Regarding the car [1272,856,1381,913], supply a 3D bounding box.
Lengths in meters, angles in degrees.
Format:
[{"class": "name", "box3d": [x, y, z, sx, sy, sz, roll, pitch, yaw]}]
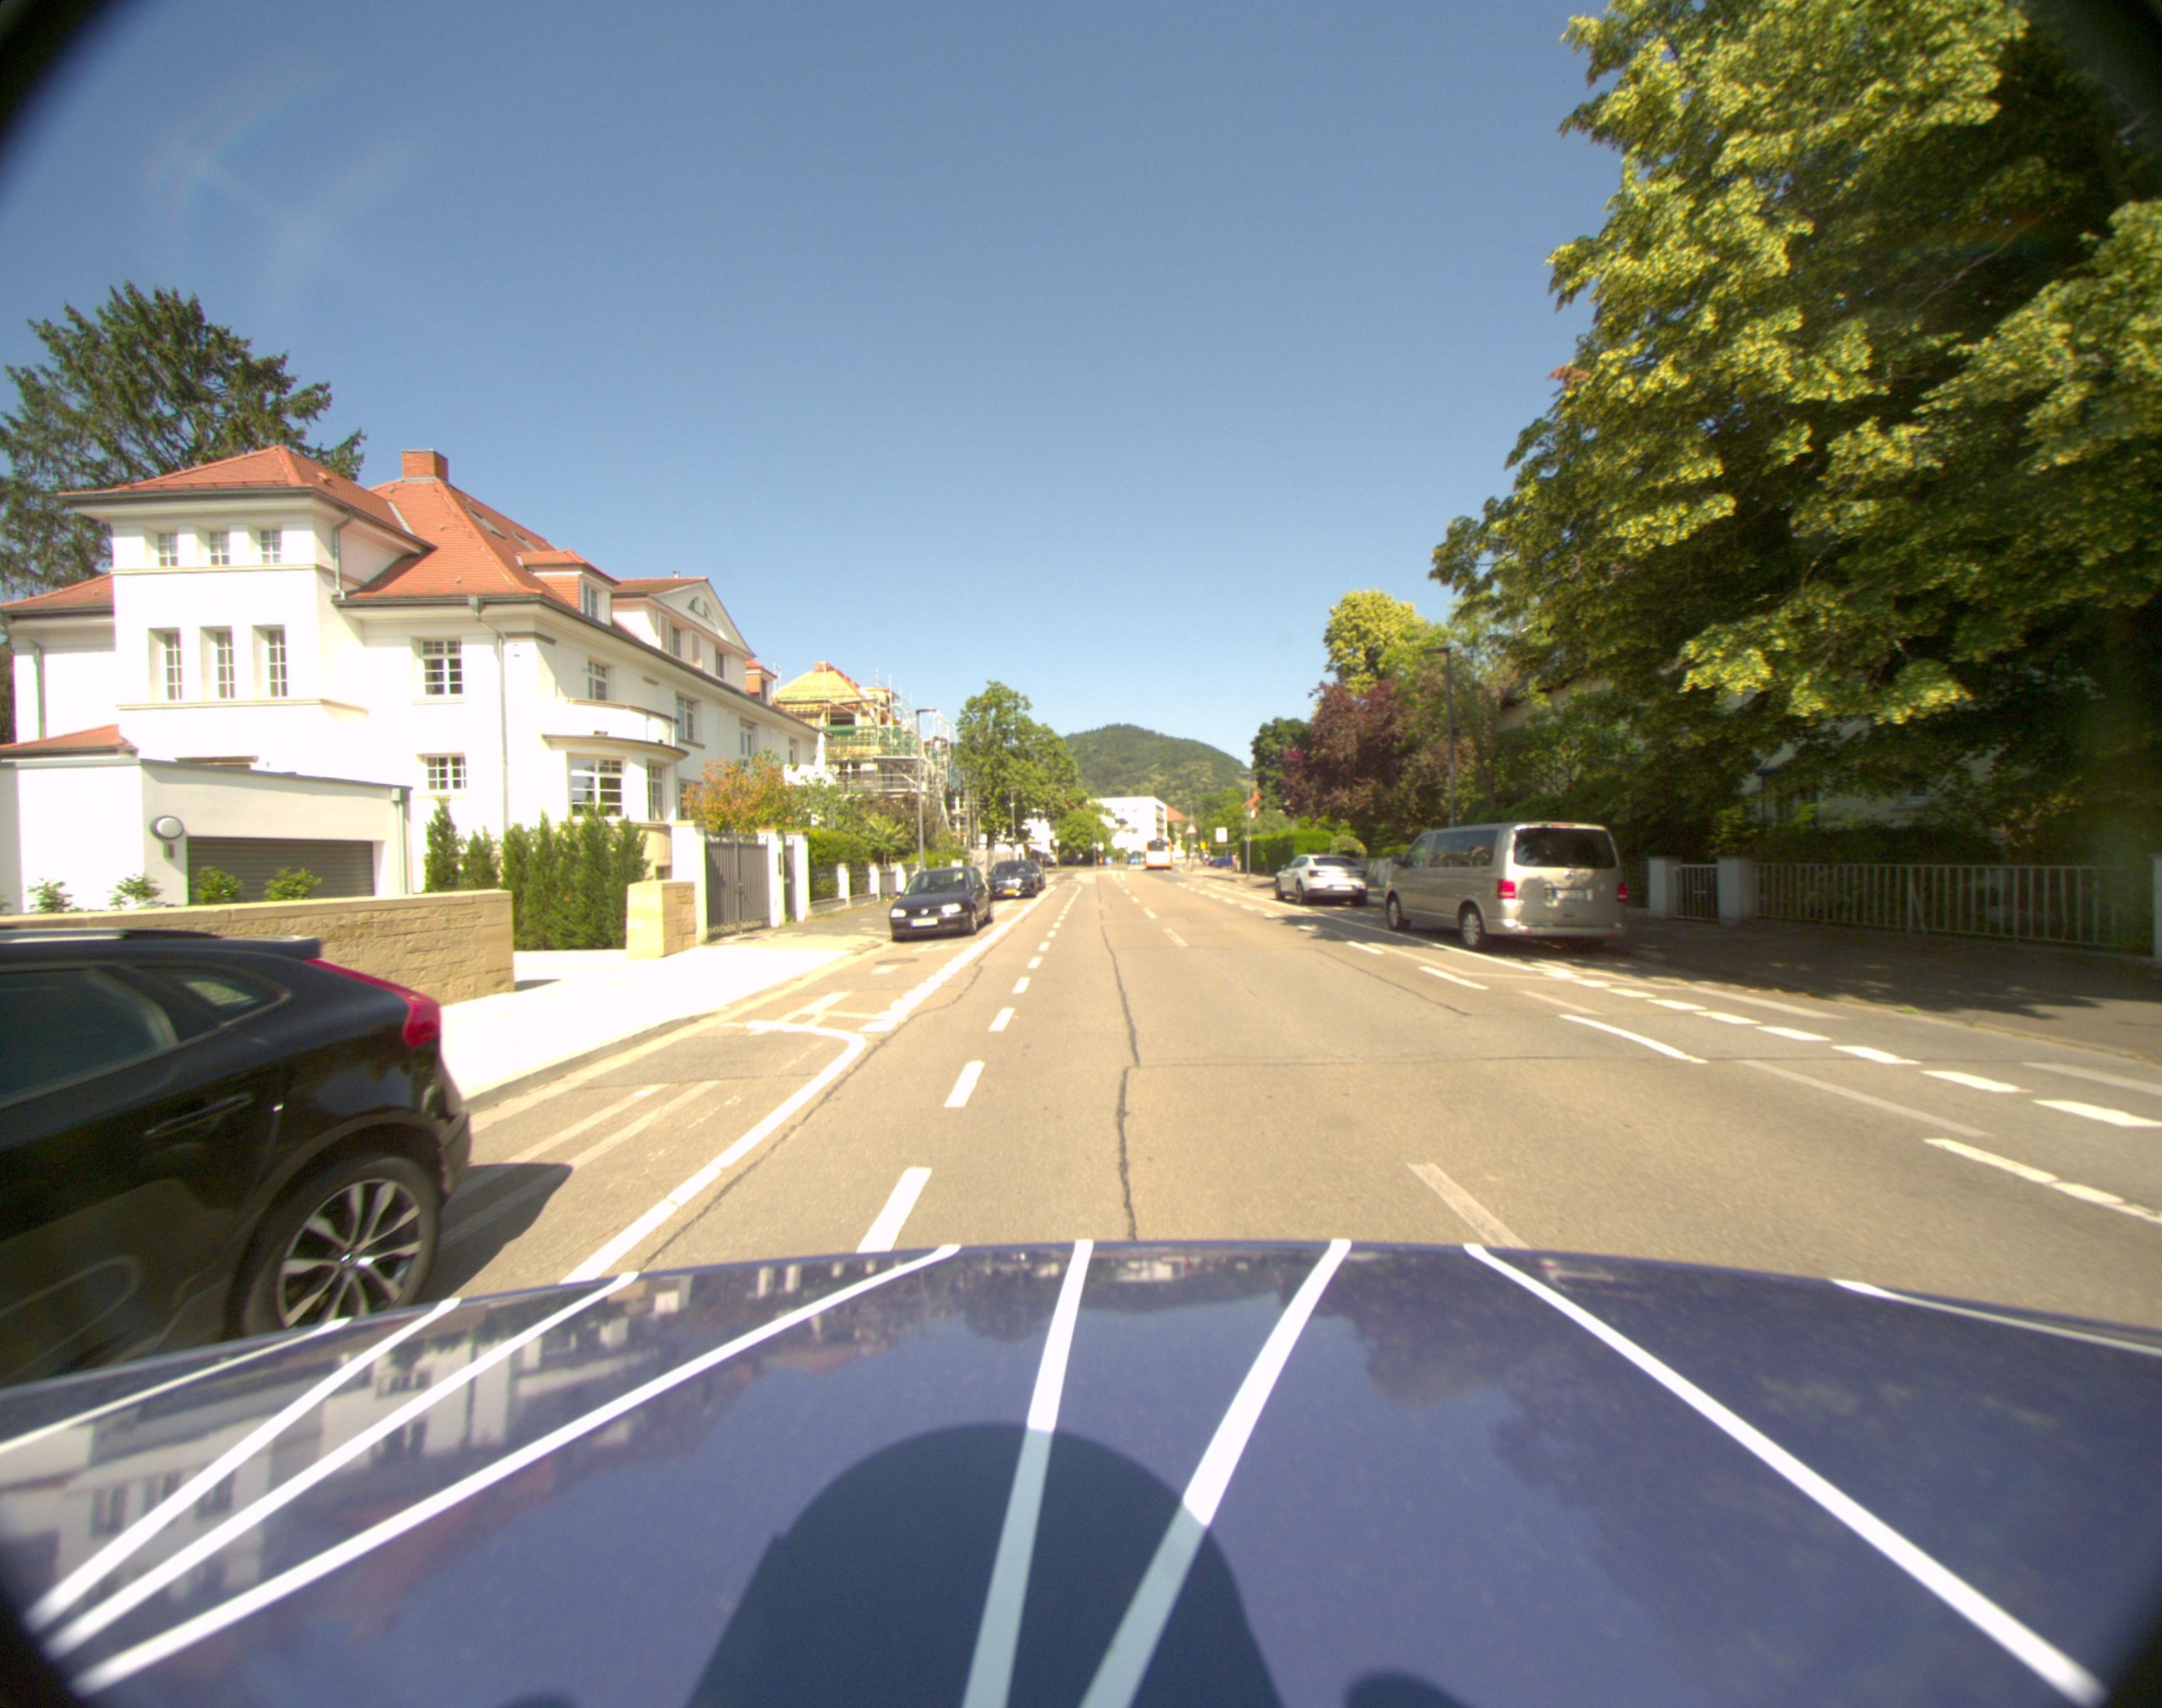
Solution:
[{"class": "car", "box3d": [7.075, 0.814, 22.393, 1.838, 1.477, 4.562, 1, 0, 2]}]

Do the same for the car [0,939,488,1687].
[{"class": "car", "box3d": [-3.205, 1.125, 0.855, 1.726, 1.440, 4.168, -5, 0, -1]}]

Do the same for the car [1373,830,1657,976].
[{"class": "car", "box3d": [6.754, 0.647, 12.627, 1.889, 1.908, 4.868, 2, 0, 0]}]

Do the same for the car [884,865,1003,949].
[{"class": "car", "box3d": [-2.922, 1.075, 16.971, 1.623, 1.440, 4.001, -5, 0, 3]}]

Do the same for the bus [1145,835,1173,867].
[{"class": "bus", "box3d": [8.095, -0.264, 79.855, 2.751, 3.156, 9.781, 0, 0, 5]}]

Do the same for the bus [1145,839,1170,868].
[{"class": "bus", "box3d": [8.915, -0.073, 89.591, 2.751, 3.156, 9.781, 0, 0, 5]}]

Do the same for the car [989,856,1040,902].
[{"class": "car", "box3d": [-2.607, 0.933, 30.895, 1.701, 1.573, 4.900, -4, 0, -2]}]

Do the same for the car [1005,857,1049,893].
[{"class": "car", "box3d": [-2.514, 0.946, 36.021, 1.662, 1.467, 3.787, -4, 0, 0]}]
